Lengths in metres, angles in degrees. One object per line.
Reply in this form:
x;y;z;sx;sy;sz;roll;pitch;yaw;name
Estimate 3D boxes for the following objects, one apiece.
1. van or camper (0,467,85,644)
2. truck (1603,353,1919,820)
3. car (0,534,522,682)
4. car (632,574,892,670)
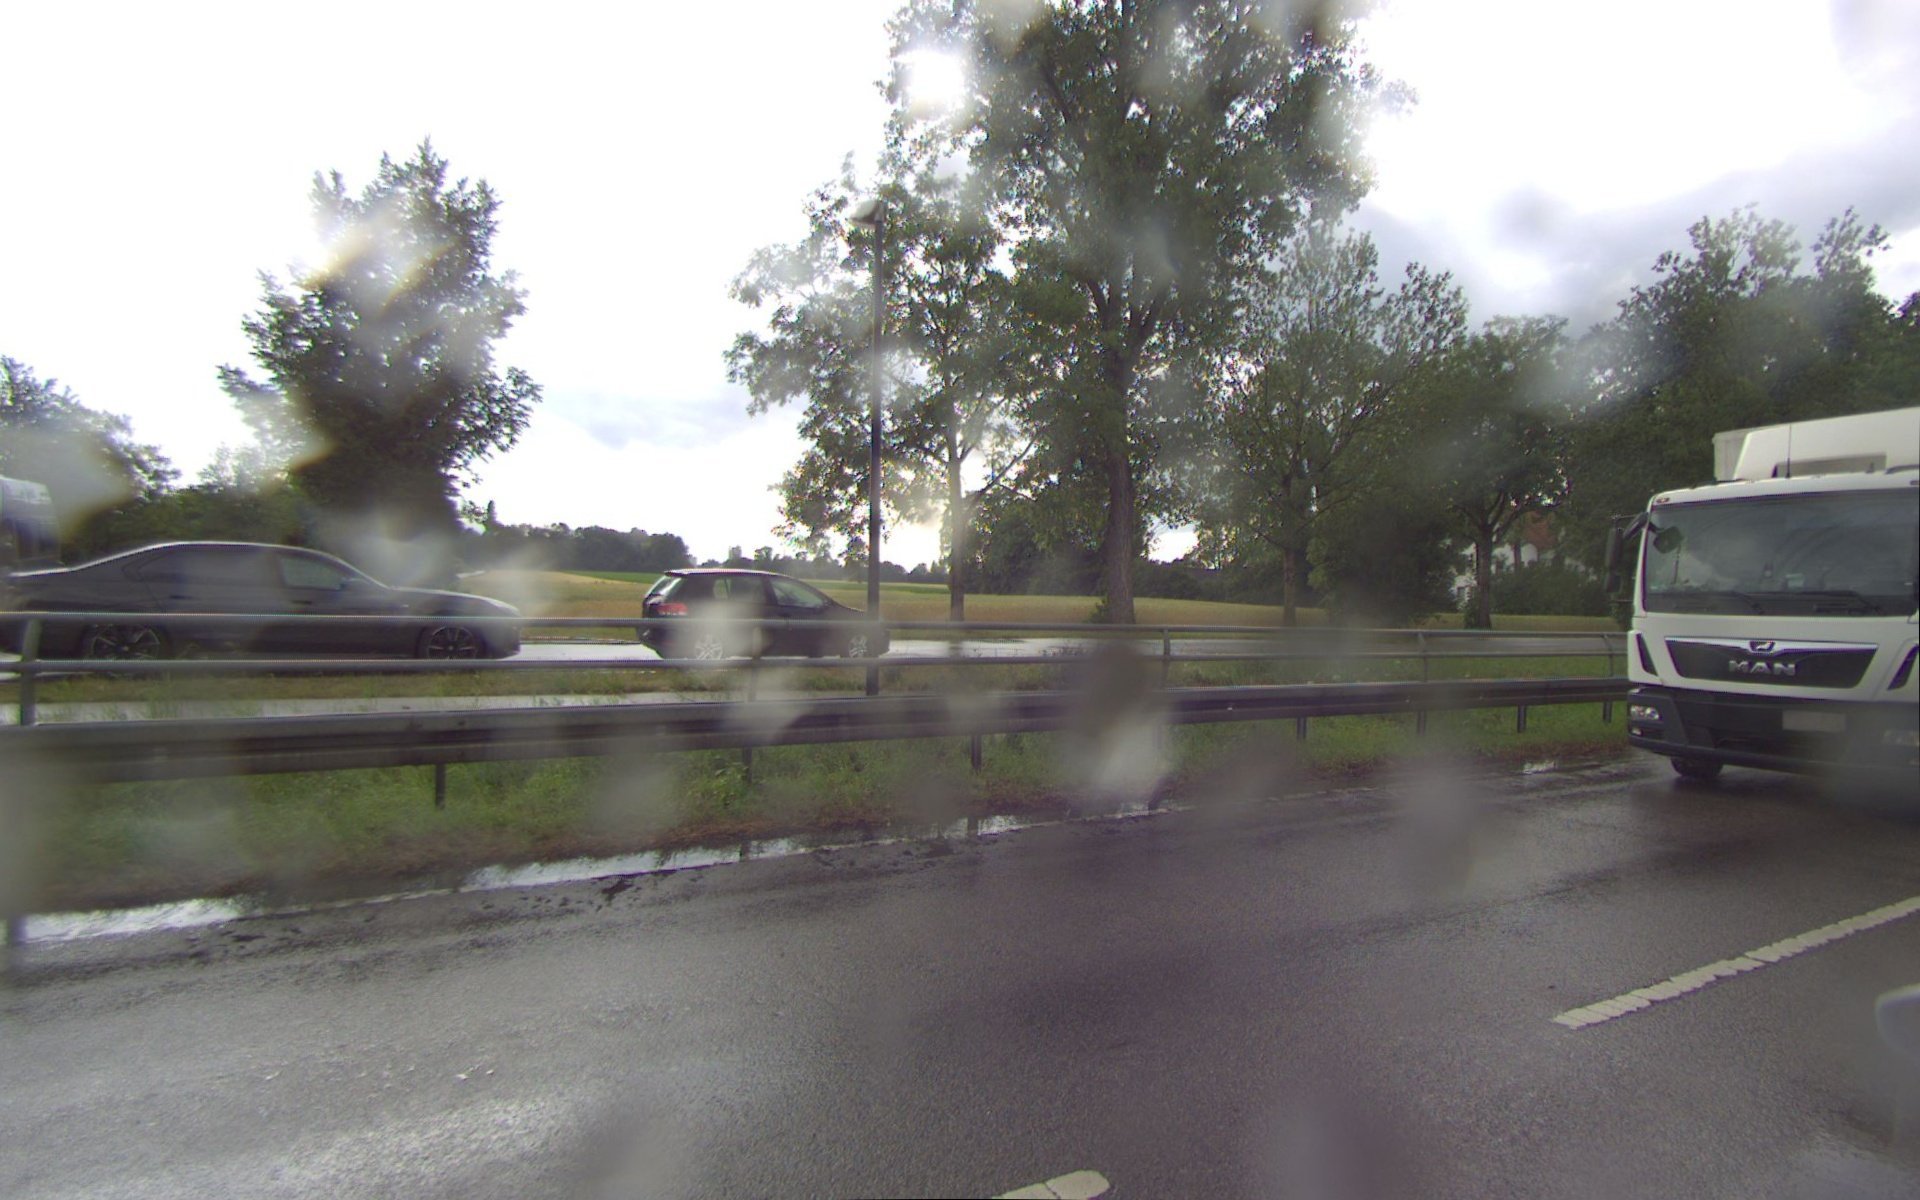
-16.853;-0.799;16.985;2.057;2.713;5.844;1;2;-31;van or camper
10.727;-0.017;10.818;9.448;3.498;2.563;1;0;-32;truck
-8.237;0.115;12.308;5.070;1.511;1.505;1;0;-35;car
-3.056;0.339;15.870;3.858;1.348;1.274;1;0;-35;car
